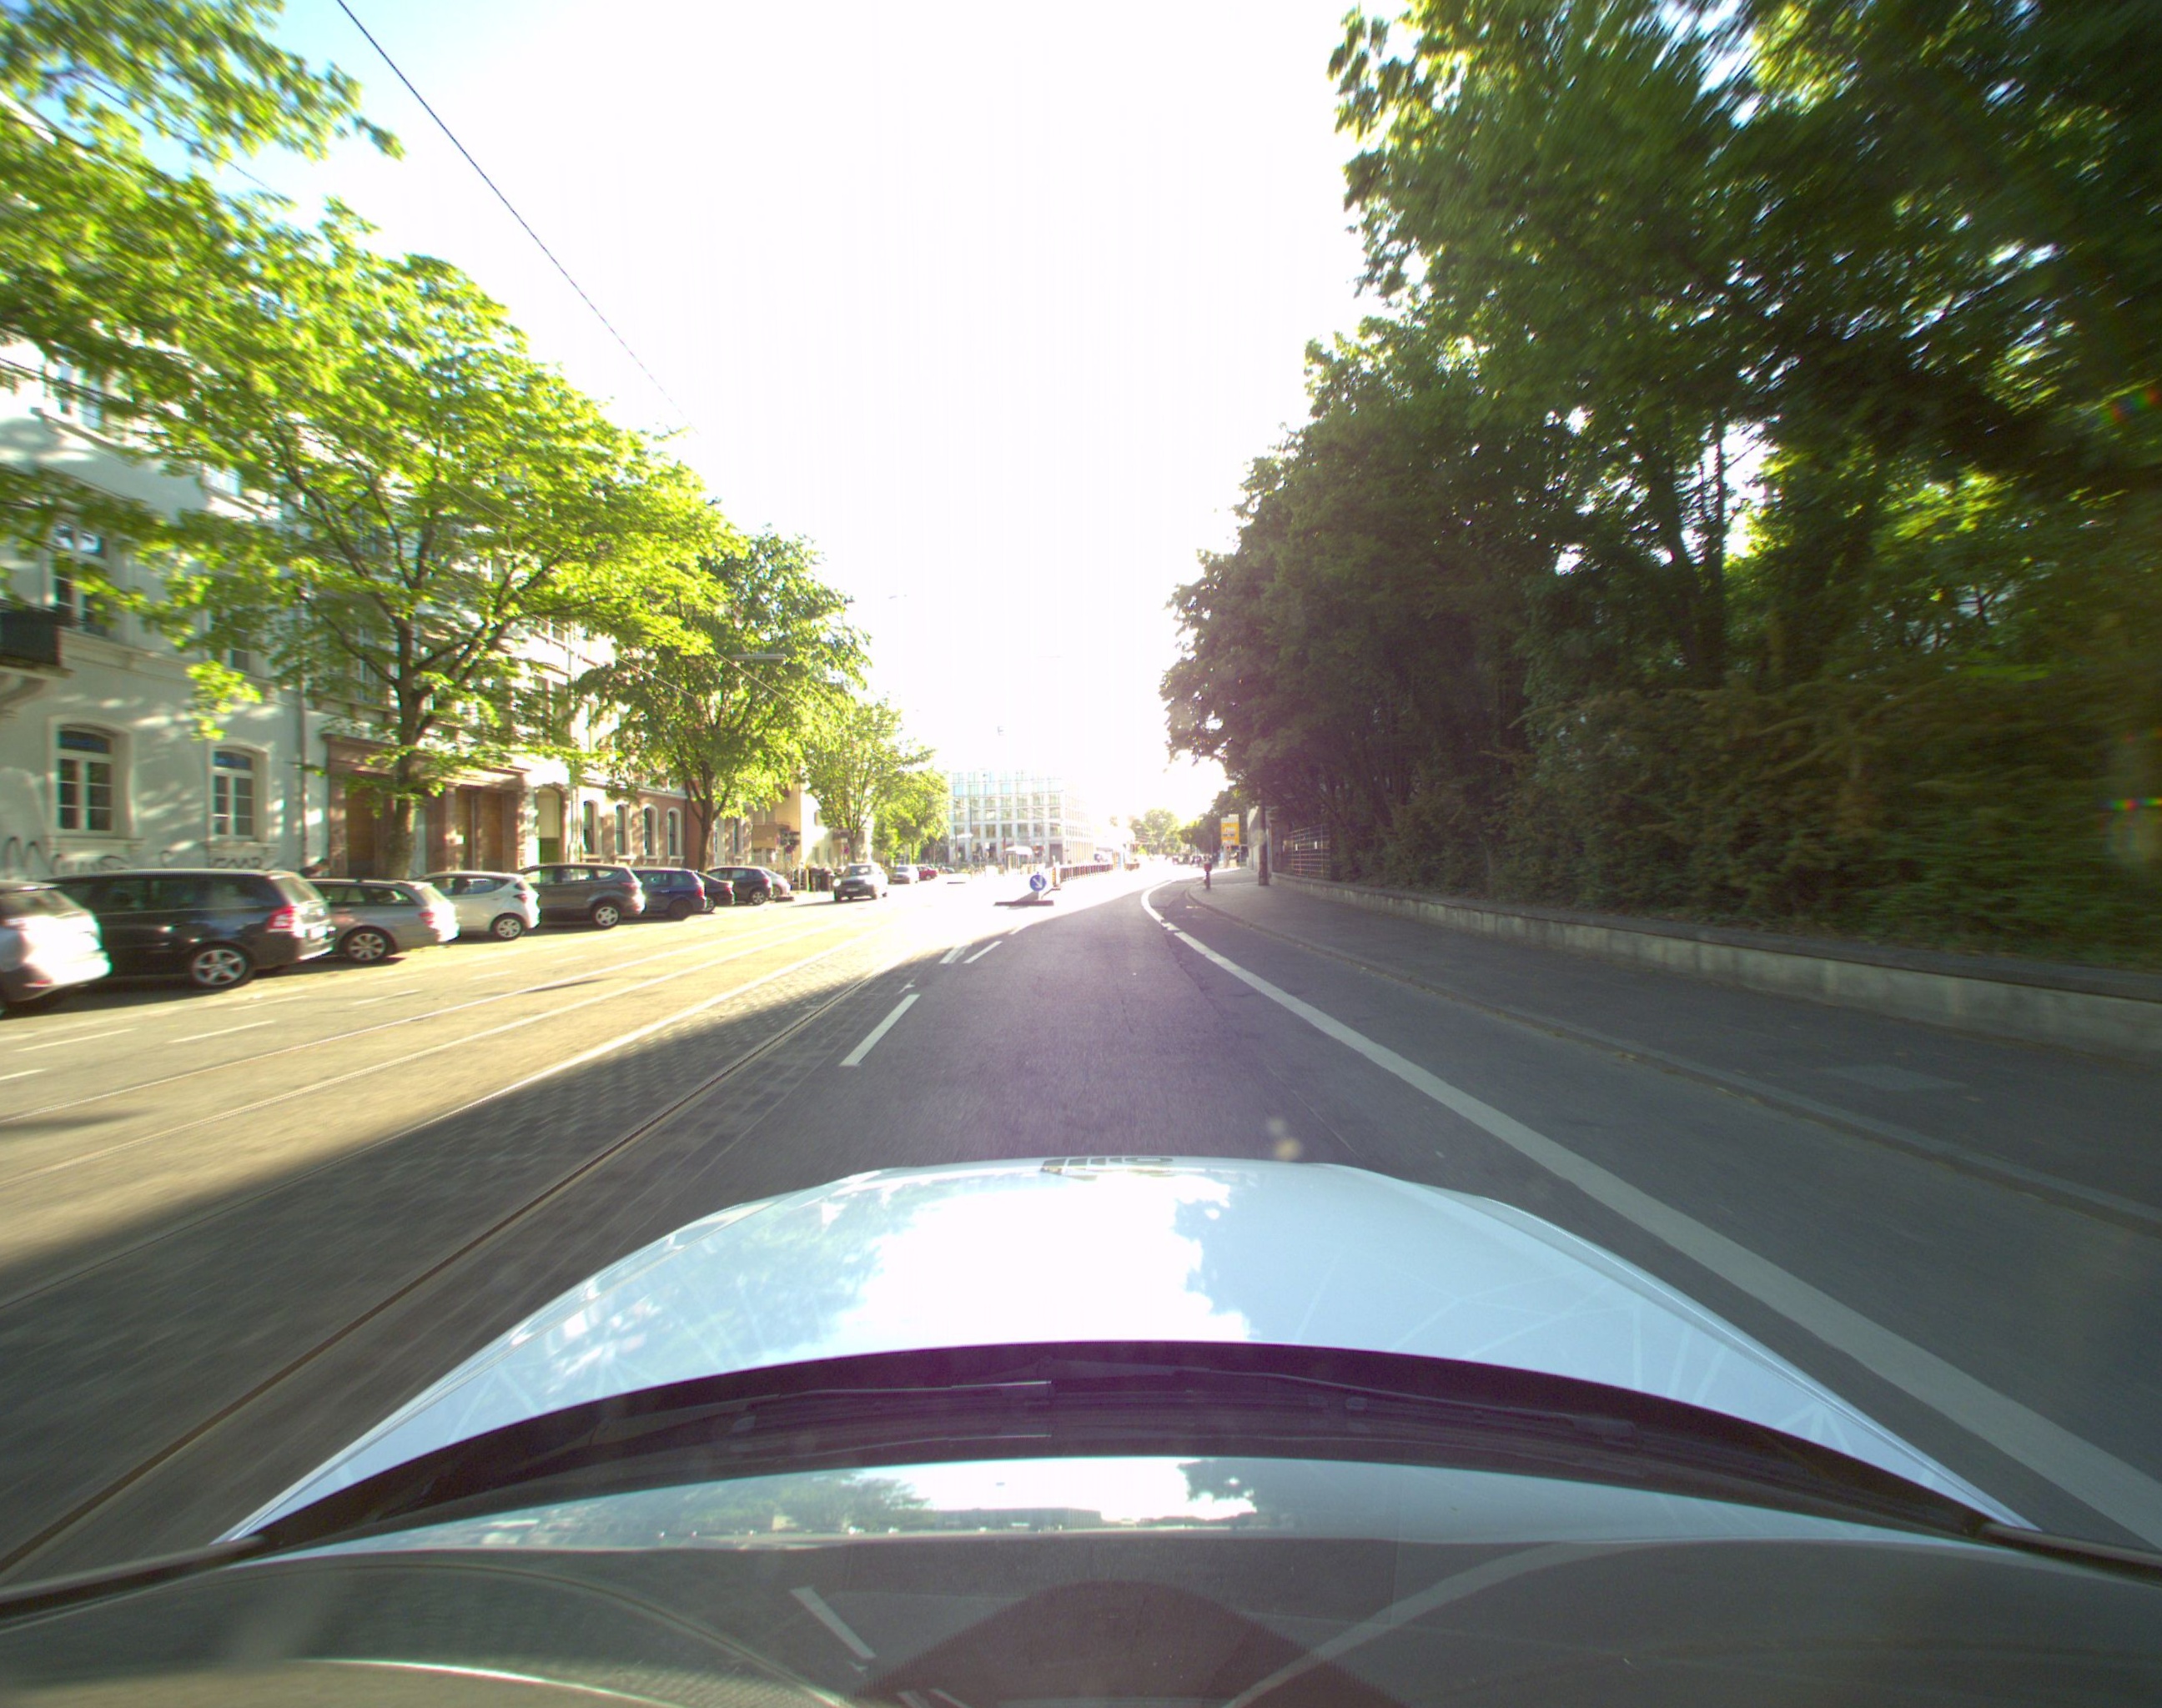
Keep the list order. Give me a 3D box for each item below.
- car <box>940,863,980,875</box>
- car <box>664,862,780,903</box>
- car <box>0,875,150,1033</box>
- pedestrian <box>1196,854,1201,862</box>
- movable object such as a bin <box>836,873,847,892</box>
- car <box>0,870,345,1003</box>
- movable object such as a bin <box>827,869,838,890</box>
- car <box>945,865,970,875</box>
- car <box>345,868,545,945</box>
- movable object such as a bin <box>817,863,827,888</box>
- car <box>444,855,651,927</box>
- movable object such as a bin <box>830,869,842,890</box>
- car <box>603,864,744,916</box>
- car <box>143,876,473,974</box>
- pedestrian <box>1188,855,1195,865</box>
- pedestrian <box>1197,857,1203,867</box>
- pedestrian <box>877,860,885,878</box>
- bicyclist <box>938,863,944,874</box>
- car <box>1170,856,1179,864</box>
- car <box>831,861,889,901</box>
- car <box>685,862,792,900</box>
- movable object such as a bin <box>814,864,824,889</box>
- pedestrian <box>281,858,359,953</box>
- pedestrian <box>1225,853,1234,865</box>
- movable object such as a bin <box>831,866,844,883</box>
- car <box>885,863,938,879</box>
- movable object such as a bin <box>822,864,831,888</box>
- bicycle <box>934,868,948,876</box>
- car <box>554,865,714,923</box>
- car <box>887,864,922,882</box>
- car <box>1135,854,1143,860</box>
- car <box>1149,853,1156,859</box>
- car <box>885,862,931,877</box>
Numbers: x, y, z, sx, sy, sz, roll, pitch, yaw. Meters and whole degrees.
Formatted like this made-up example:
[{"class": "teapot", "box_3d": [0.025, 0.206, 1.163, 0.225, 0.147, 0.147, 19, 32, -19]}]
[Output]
[{"class": "car", "box_3d": [-14.594, 1.810, 98.493, 4.519, 1.350, 1.578, 0, -2, -22]}, {"class": "car", "box_3d": [-14.160, 1.129, 32.201, 3.937, 1.508, 1.672, 2, -1, -34]}, {"class": "car", "box_3d": [-13.046, 1.060, 8.570, 3.883, 1.654, 1.755, 1, -2, -32]}, {"class": "pedestrian", "box_3d": [20.708, 0.706, 143.927, 0.761, 1.558, 0.587, -2, -1, -6]}, {"class": "movable object such as a bin", "box_3d": [-14.246, 1.689, 48.414, 0.377, 1.068, 0.641, -2, -1, 10]}, {"class": "car", "box_3d": [-13.121, 1.057, 11.395, 3.883, 1.654, 1.755, 1, -2, -31]}, {"class": "movable object such as a bin", "box_3d": [-14.337, 1.446, 46.975, 0.377, 1.203, 0.641, -2, -1, 10]}, {"class": "car", "box_3d": [-19.372, 2.564, 127.511, 3.510, 1.506, 1.526, -1, -1, 8]}, {"class": "car", "box_3d": [-13.876, 1.135, 18.028, 3.293, 1.533, 1.690, 3, -2, -34]}, {"class": "movable object such as a bin", "box_3d": [-15.038, 1.265, 47.327, 0.377, 1.427, 0.387, -2, -1, 10]}, {"class": "car", "box_3d": [-13.760, 0.974, 21.230, 4.302, 1.723, 1.689, 3, -3, -34]}, {"class": "movable object such as a bin", "box_3d": [-14.367, 1.497, 47.743, 0.377, 1.242, 0.641, -2, -1, 10]}, {"class": "car", "box_3d": [-13.658, 1.183, 27.413, 4.004, 1.617, 1.616, 1, -1, -38]}, {"class": "car", "box_3d": [-13.129, 1.147, 14.210, 3.835, 1.485, 1.753, 1, -2, -32]}, {"class": "pedestrian", "box_3d": [19.298, 1.034, 142.151, 0.964, 1.784, 0.778, -2, -1, -6]}, {"class": "pedestrian", "box_3d": [20.839, 1.371, 143.056, 0.846, 1.784, 0.778, -2, -1, -6]}, {"class": "pedestrian", "box_3d": [-18.596, 1.418, 75.644, 0.508, 1.671, 0.490, -2, -1, 3]}, {"class": "bicyclist", "box_3d": [-20.997, 2.123, 121.826, 0.613, 1.582, 0.597, -2, -1, 17]}, {"class": "car", "box_3d": [21.502, 1.338, 187.412, 1.674, 1.737, 3.519, 0, -1, 11]}, {"class": "car", "box_3d": [-9.661, 1.126, 35.916, 1.870, 1.601, 4.415, -2, 0, -8]}, {"class": "car", "box_3d": [-14.766, 1.156, 35.198, 3.936, 1.522, 1.715, 2, -1, -39]}, {"class": "movable object such as a bin", "box_3d": [-15.106, 1.283, 46.902, 0.377, 1.427, 0.389, -2, -1, 10]}, {"class": "pedestrian", "box_3d": [-14.602, 0.968, 15.646, 0.764, 1.755, 0.804, -1, -1, -13]}, {"class": "pedestrian", "box_3d": [20.953, 0.682, 115.013, 1.036, 1.721, 1.035, -2, -1, -1]}, {"class": "movable object such as a bin", "box_3d": [-16.300, 1.349, 54.446, 0.423, 1.126, 1.148, -1, -1, 4]}, {"class": "car", "box_3d": [-15.600, 1.587, 74.907, 4.518, 1.426, 1.860, 0, -2, -22]}, {"class": "movable object such as a bin", "box_3d": [-14.921, 1.298, 47.729, 0.377, 1.427, 0.389, -2, -1, 10]}, {"class": "bicycle", "box_3d": [-20.977, 2.642, 121.876, 1.908, 1.122, 0.793, -2, -1, 16]}, {"class": "car", "box_3d": [-13.421, 1.156, 24.561, 4.004, 1.617, 1.616, 1, -1, -38]}, {"class": "car", "box_3d": [-14.034, 1.492, 64.925, 1.699, 1.410, 4.294, 0, -1, 2]}, {"class": "car", "box_3d": [17.433, 0.982, 244.089, 1.808, 1.712, 3.817, -2, -1, 11]}, {"class": "car", "box_3d": [22.504, 0.694, 255.236, 1.808, 1.712, 3.817, -2, -1, 11]}, {"class": "car", "box_3d": [-18.184, 1.604, 85.590, 4.519, 1.570, 1.578, 0, -2, -22]}]
